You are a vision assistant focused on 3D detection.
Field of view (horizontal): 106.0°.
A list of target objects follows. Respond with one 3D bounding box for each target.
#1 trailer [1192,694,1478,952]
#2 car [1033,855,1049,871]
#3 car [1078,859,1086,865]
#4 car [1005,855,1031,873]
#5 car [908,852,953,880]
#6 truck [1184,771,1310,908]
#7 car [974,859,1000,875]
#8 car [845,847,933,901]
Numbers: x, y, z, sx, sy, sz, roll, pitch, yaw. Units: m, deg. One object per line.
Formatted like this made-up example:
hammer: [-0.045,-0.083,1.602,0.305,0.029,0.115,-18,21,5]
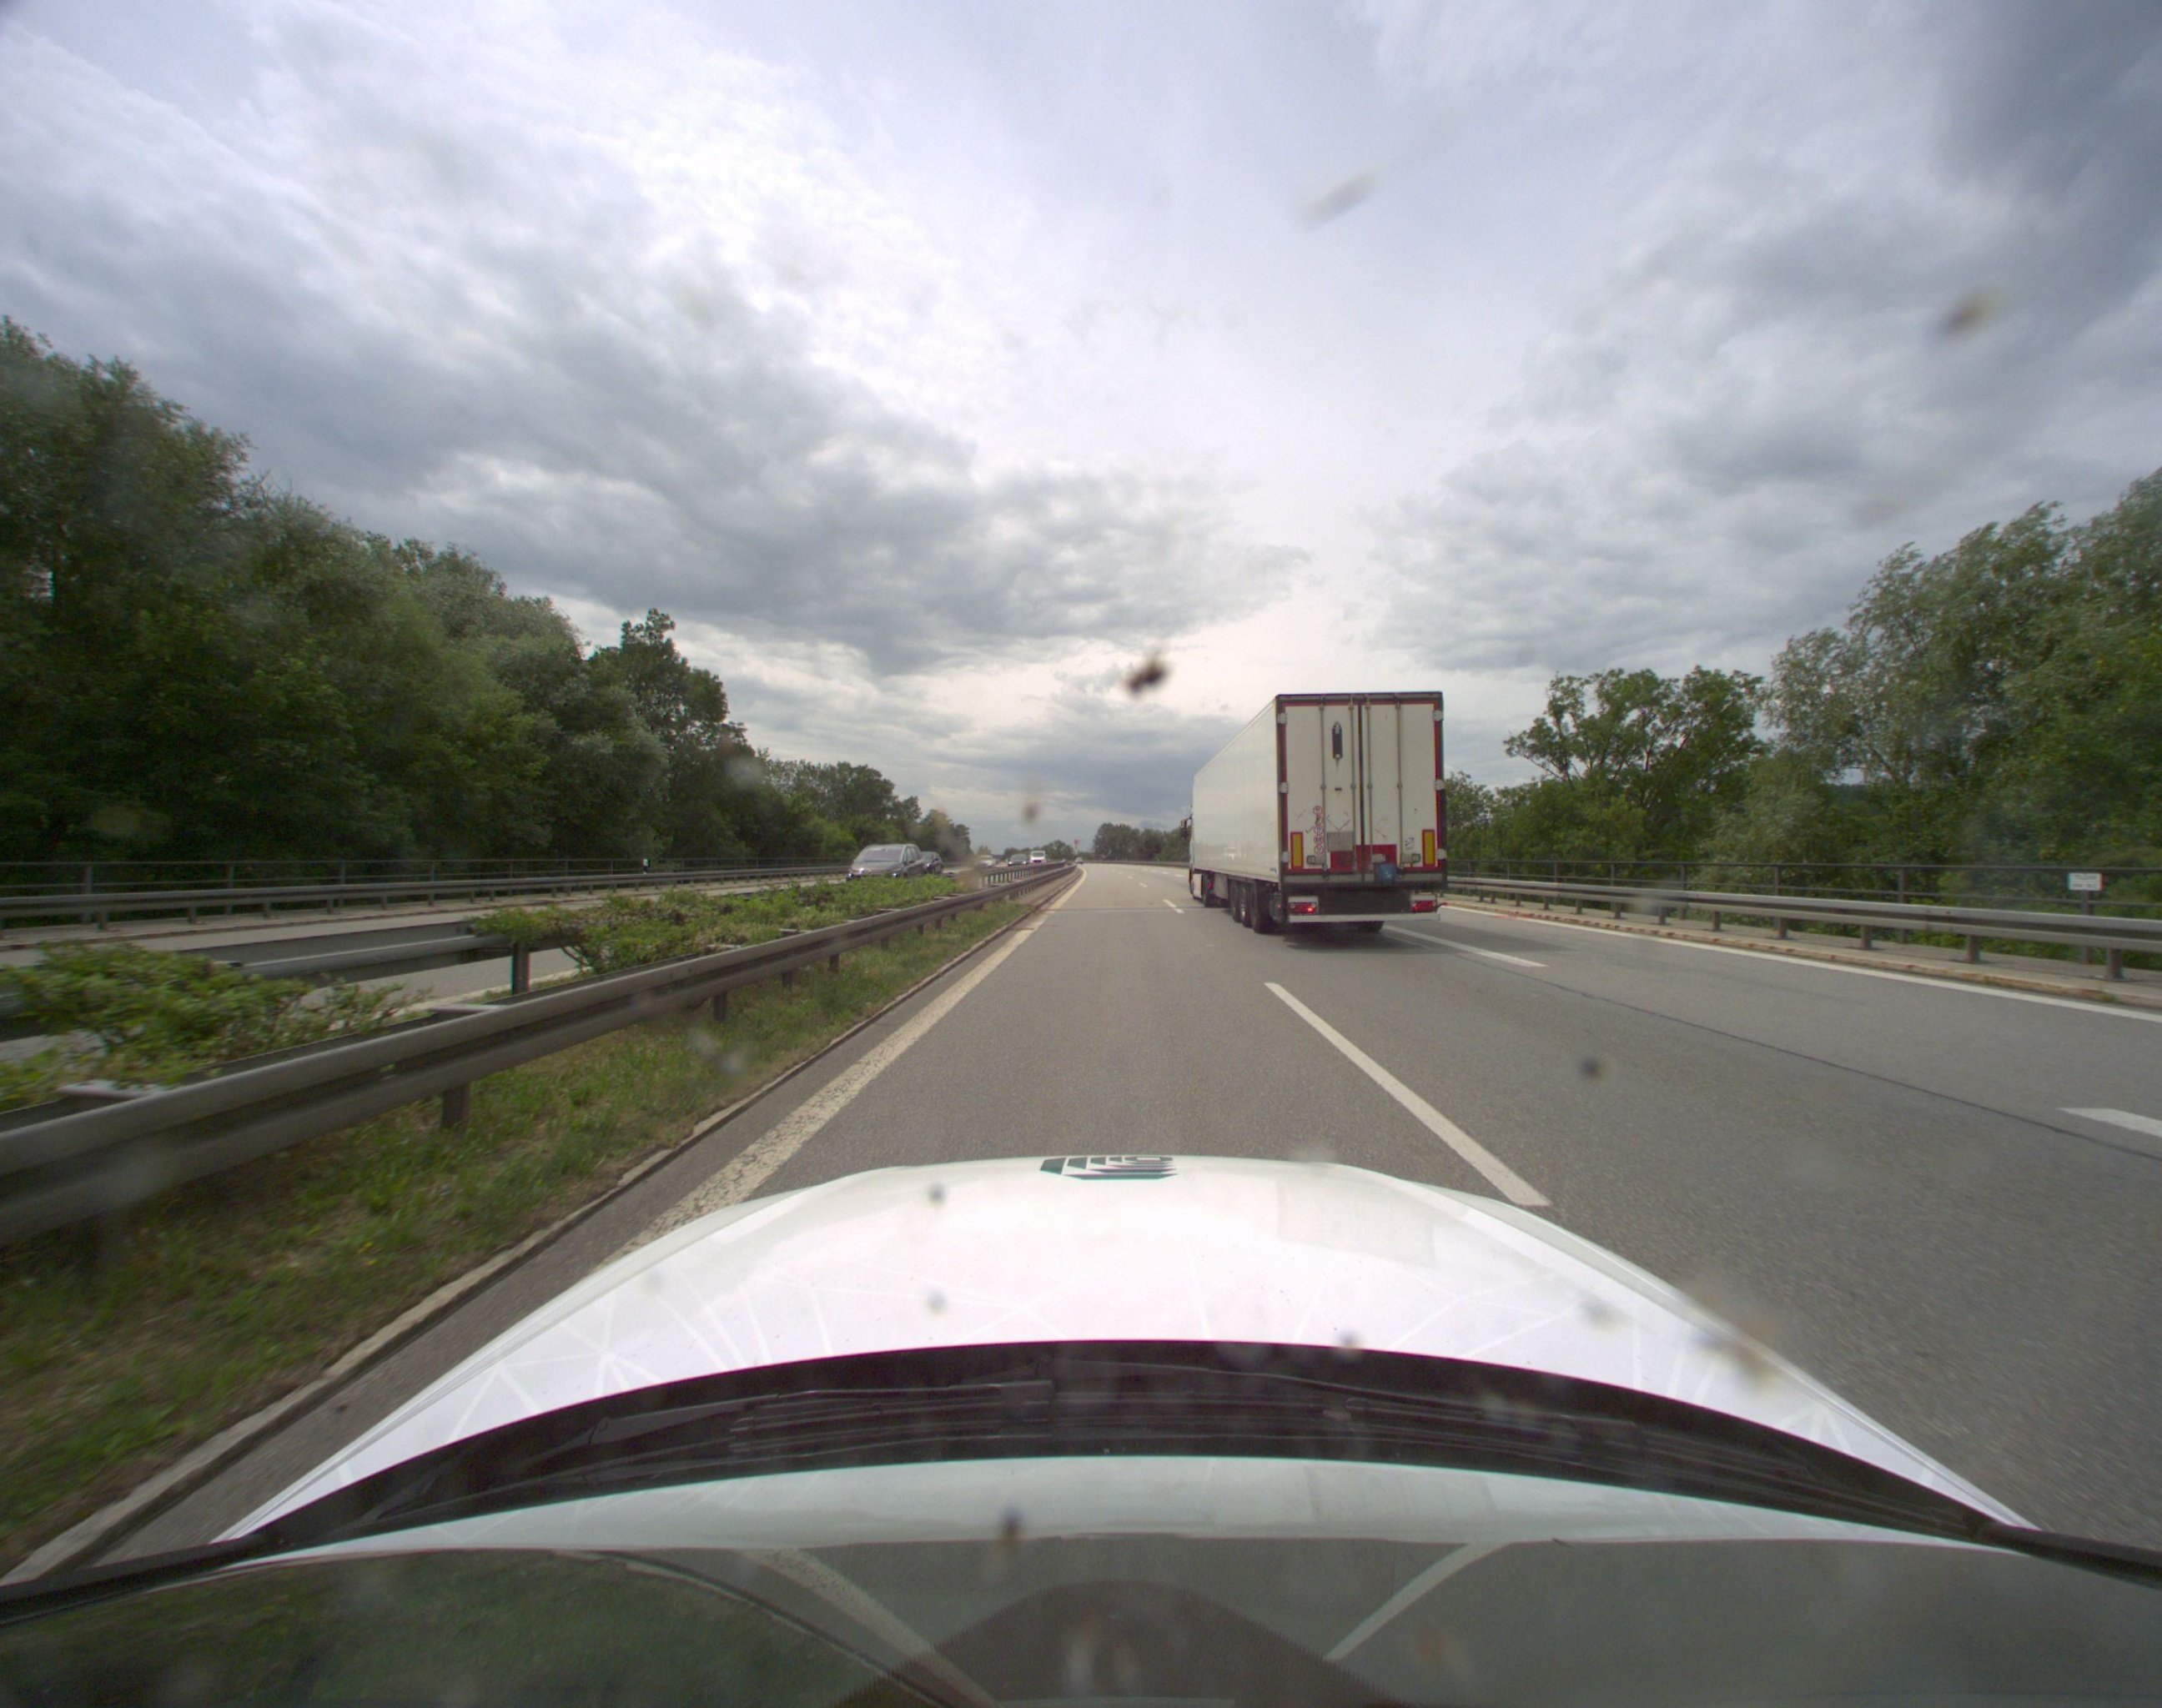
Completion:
trailer: [4.800,-0.455,19.334,3.050,3.890,13.799,-1,0,3]
car: [-4.876,1.108,100.052,1.766,1.910,4.713,1,0,0]
car: [0.160,2.076,208.622,1.898,1.640,4.391,0,-1,-3]
car: [-5.743,0.890,75.180,1.839,1.612,4.948,1,0,2]
car: [-8.912,0.696,48.536,1.722,1.560,4.334,0,0,3]
truck: [5.136,-0.420,26.394,3.050,3.892,6.004,-1,0,2]
car: [-9.005,1.218,78.312,1.839,1.438,3.937,-1,0,1]
car: [-6.295,0.588,27.133,1.718,1.650,4.226,0,0,3]
